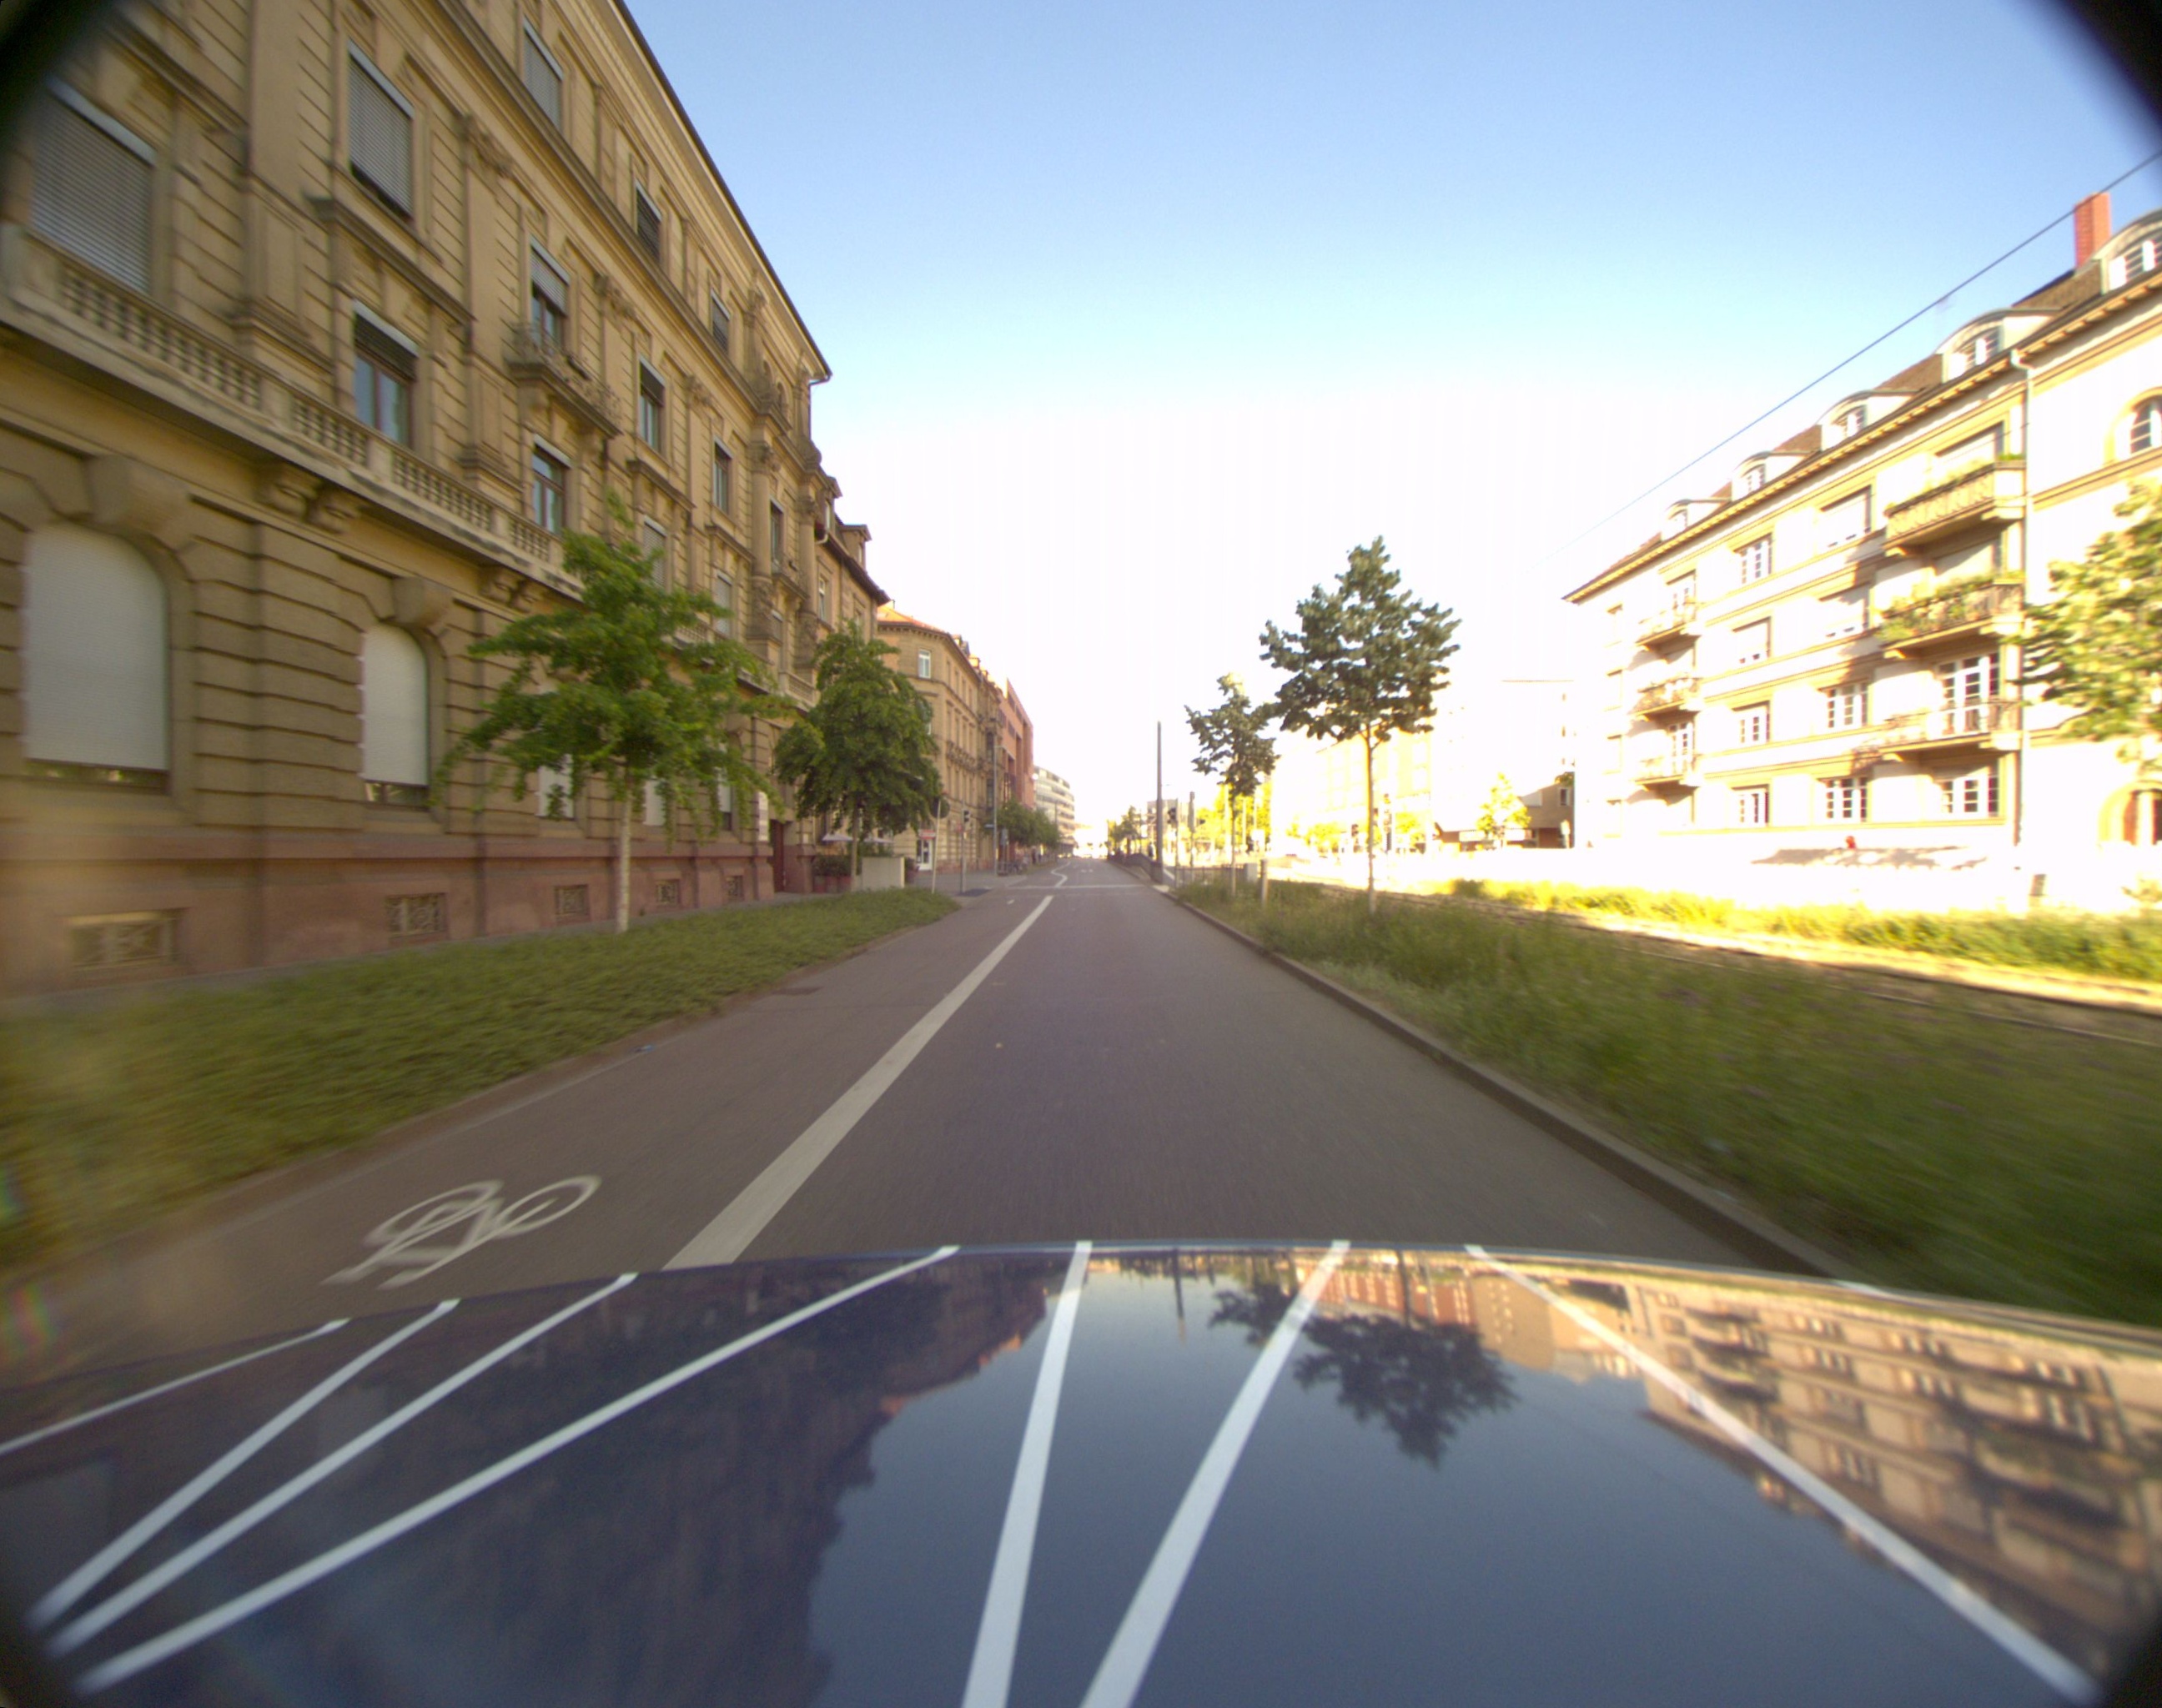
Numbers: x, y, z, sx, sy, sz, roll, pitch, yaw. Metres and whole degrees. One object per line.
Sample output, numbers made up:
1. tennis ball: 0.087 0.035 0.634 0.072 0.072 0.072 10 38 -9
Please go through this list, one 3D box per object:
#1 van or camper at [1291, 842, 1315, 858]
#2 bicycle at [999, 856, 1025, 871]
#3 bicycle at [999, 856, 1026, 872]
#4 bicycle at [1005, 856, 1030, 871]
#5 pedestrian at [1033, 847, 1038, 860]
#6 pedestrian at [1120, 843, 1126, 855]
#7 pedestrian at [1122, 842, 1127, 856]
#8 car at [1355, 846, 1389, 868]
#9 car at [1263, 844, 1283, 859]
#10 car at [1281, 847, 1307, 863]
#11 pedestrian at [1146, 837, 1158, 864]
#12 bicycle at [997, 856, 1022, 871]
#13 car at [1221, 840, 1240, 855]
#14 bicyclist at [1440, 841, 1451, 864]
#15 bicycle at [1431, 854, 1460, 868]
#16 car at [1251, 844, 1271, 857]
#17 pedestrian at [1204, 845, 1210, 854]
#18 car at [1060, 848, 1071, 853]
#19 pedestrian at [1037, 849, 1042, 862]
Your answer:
1. van or camper: 30.592 -0.532 104.892 1.998 2.156 5.618 0 -1 3
2. bicycle: -4.968 0.687 54.680 1.831 1.058 0.663 2 0 -4
3. bicycle: -4.777 0.679 53.201 1.831 1.058 0.663 2 0 -4
4. bicycle: -4.780 0.699 57.434 1.831 1.058 0.663 2 0 -4
5. pedestrian: -6.005 -0.047 99.793 0.539 1.746 0.463 -1 2 -38
6. pedestrian: 5.437 -0.673 98.690 0.674 1.553 0.906 0 1 1
7. pedestrian: 5.424 -0.634 94.949 0.506 1.722 0.651 0 1 1
8. car: 27.151 0.287 71.073 1.997 2.002 4.149 0 0 7
9. car: 25.219 -0.304 99.924 1.890 1.856 4.317 0 0 4
10. car: 24.991 0.101 89.240 1.998 1.707 4.942 0 1 5
11. pedestrian: 4.363 -0.234 46.990 0.656 1.634 0.867 -1 2 1
12. bicycle: -5.267 0.694 56.071 1.831 1.058 0.663 2 0 -4
13. car: 22.884 -1.001 116.623 2.050 2.344 4.919 0 1 0
14. bicyclist: 26.210 -0.128 54.635 0.487 1.670 0.666 0 1 -3
15. bicycle: 26.193 0.504 54.646 1.741 0.942 0.685 0 1 -2
16. car: 25.544 -0.454 107.764 1.891 1.856 4.316 0 0 0
17. pedestrian: 16.470 -0.617 99.047 0.674 1.183 0.906 0 1 1
18. car: -4.400 -0.967 212.619 1.901 1.612 4.177 0 0 16
19. pedestrian: -5.544 0.214 101.513 0.537 1.746 0.696 0 1 17
